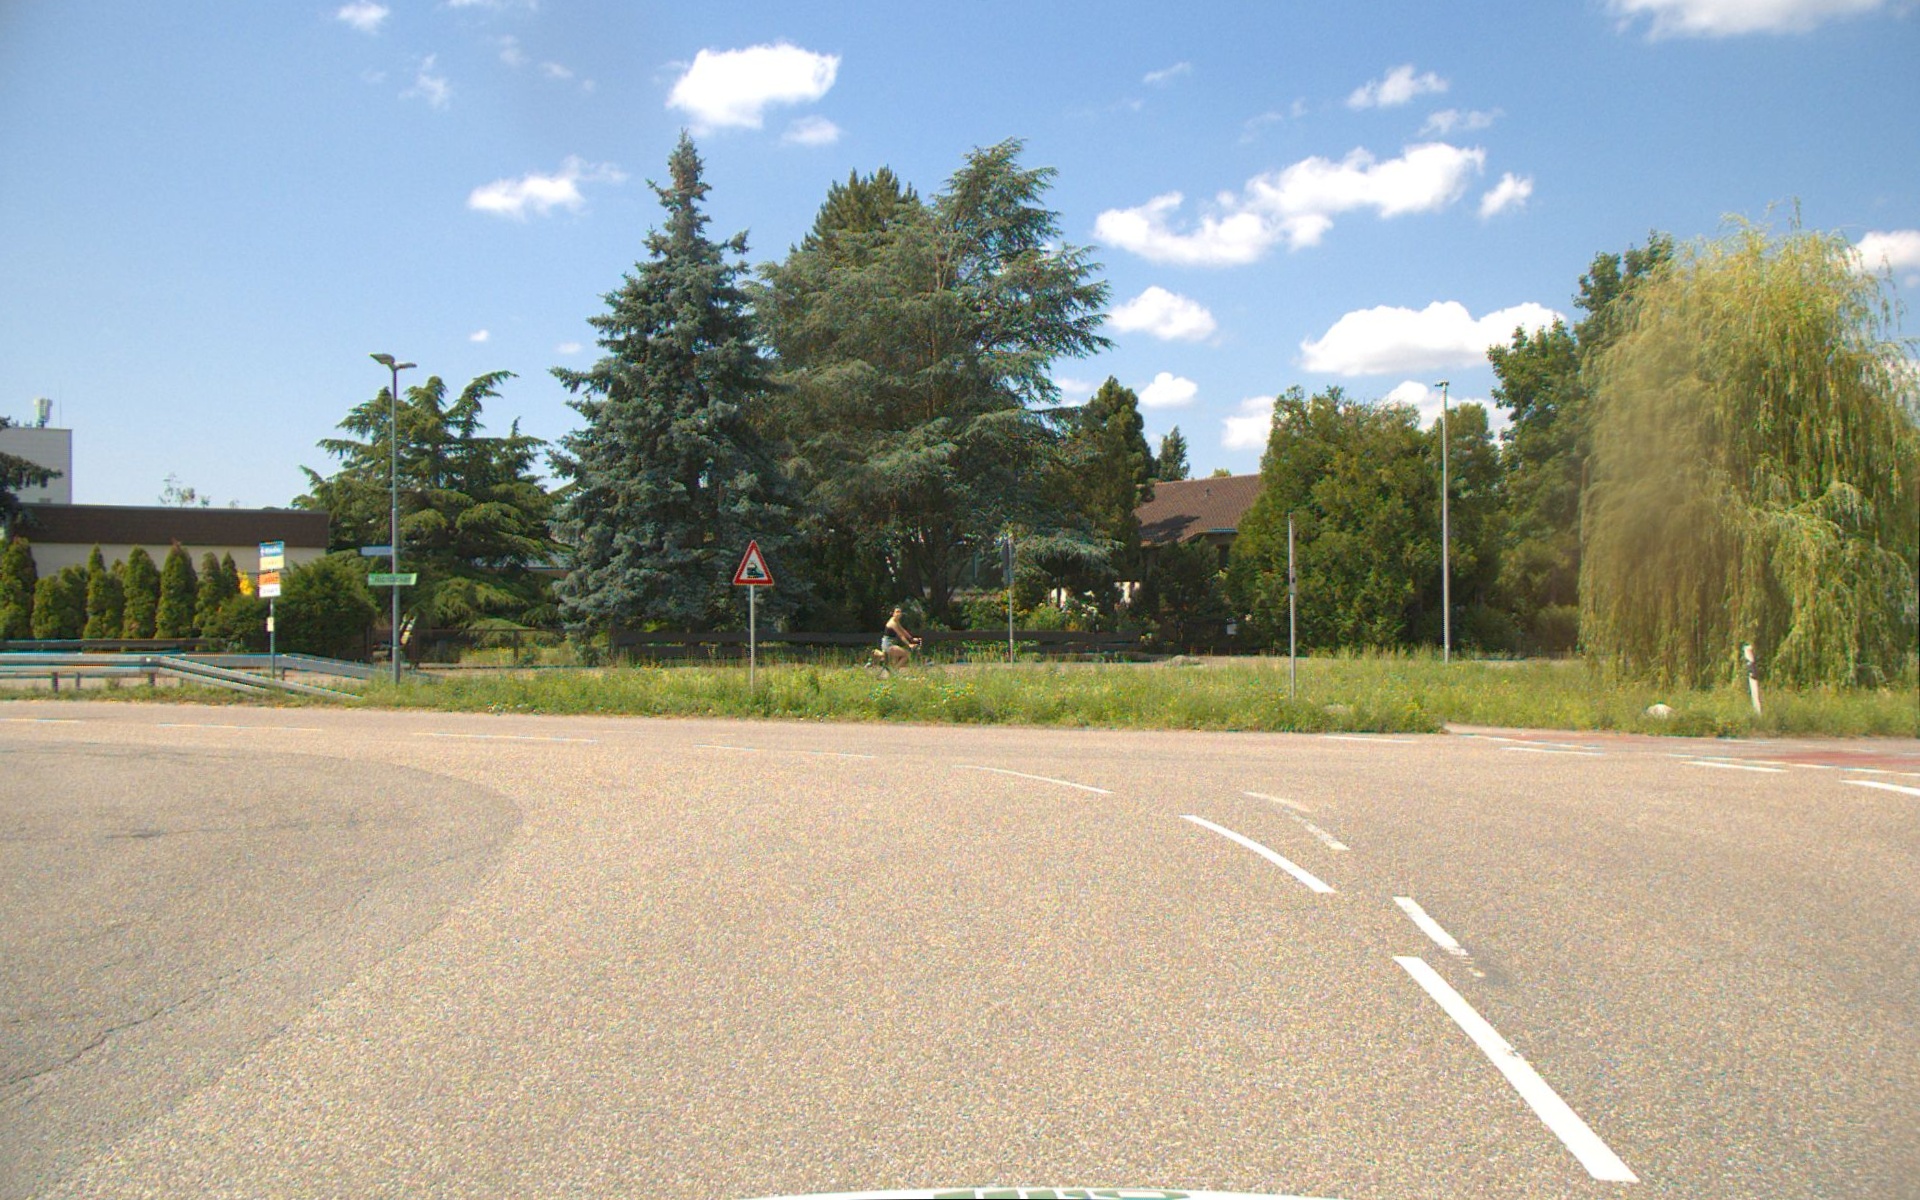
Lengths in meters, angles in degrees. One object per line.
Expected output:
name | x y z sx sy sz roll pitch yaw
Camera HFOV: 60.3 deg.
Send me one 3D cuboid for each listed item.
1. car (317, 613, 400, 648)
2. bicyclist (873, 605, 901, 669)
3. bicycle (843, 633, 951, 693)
car | -28.836 1.431 79.369 3.495 1.613 1.546 0 0 -36
bicyclist | -1.460 0.741 33.237 0.499 1.277 0.469 0 -1 5
bicycle | -1.255 1.264 33.244 2.094 1.185 0.661 0 0 4
